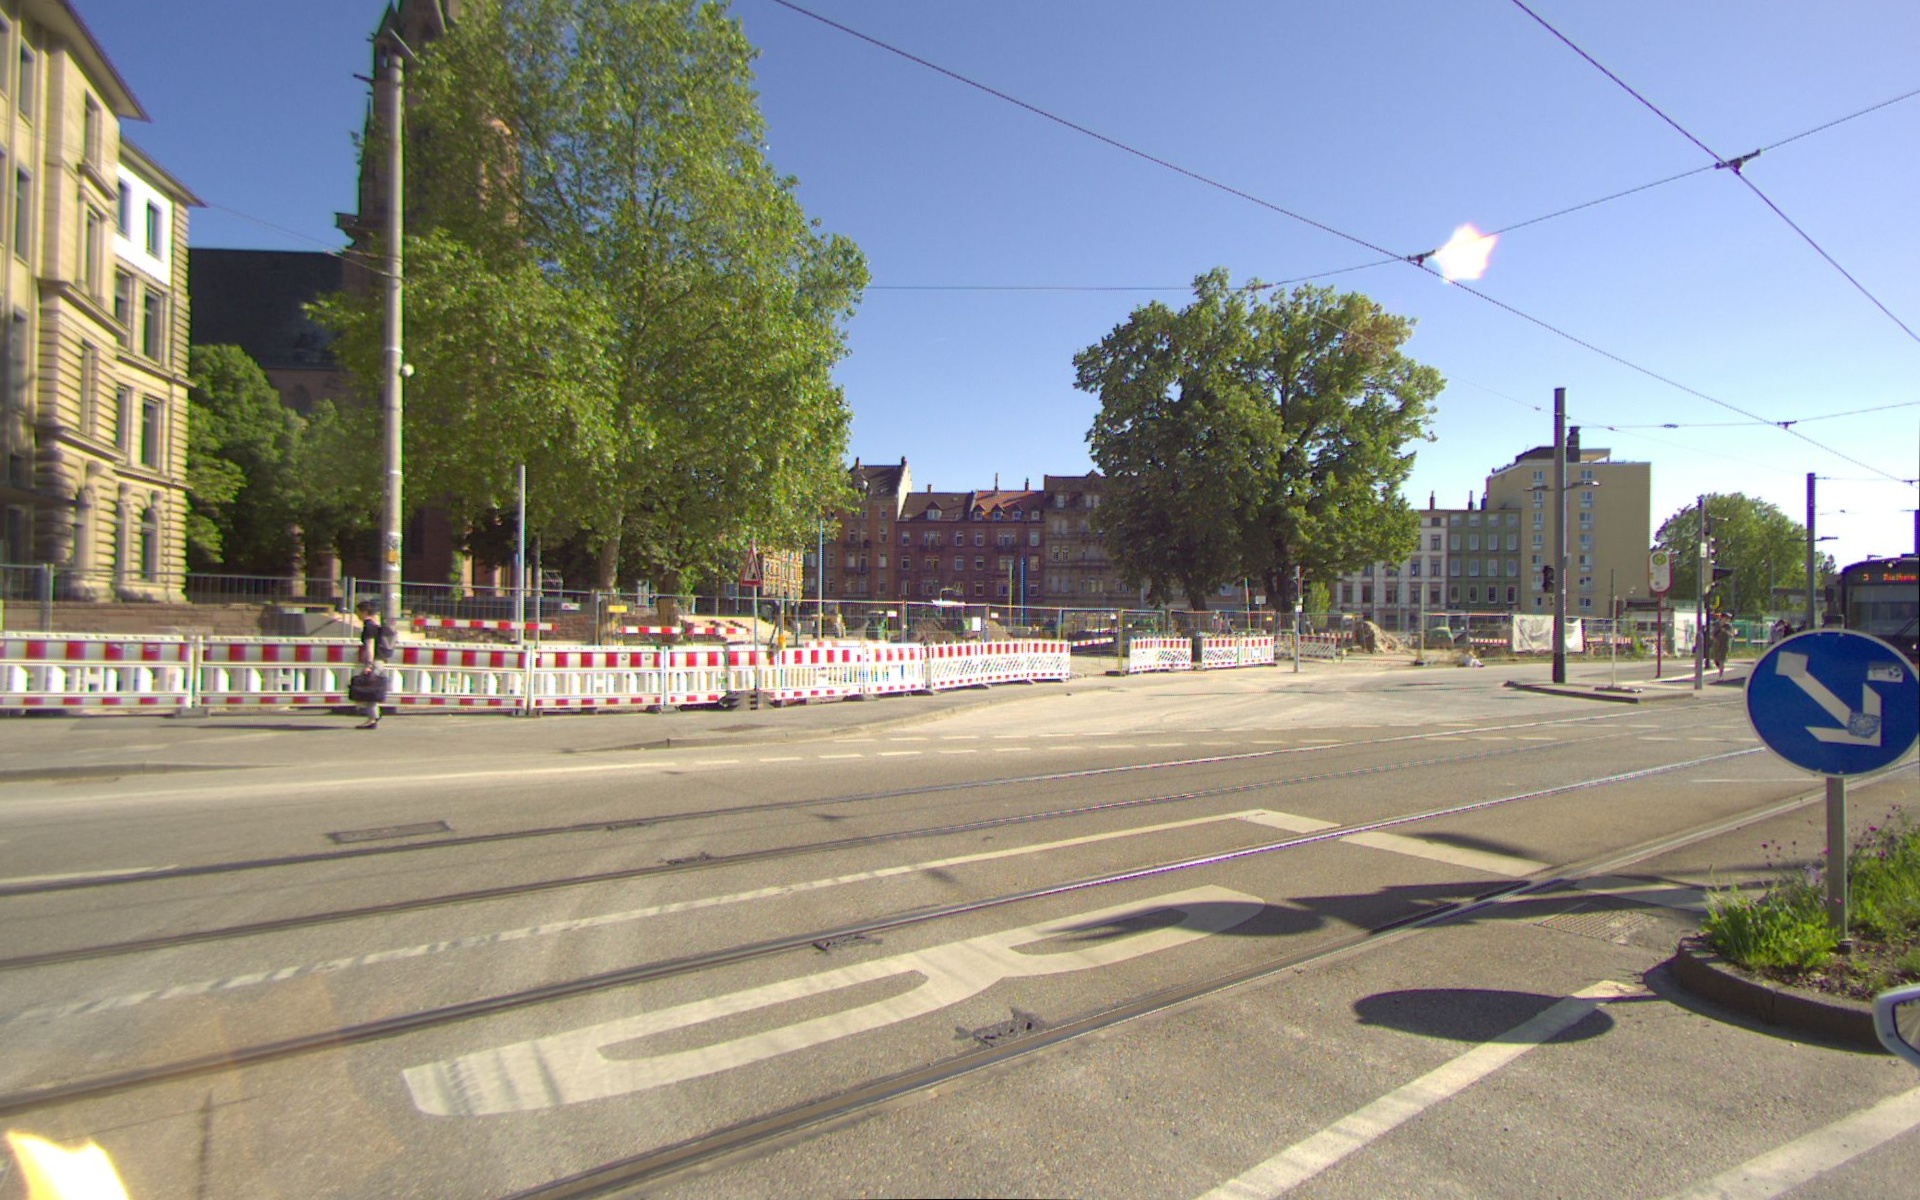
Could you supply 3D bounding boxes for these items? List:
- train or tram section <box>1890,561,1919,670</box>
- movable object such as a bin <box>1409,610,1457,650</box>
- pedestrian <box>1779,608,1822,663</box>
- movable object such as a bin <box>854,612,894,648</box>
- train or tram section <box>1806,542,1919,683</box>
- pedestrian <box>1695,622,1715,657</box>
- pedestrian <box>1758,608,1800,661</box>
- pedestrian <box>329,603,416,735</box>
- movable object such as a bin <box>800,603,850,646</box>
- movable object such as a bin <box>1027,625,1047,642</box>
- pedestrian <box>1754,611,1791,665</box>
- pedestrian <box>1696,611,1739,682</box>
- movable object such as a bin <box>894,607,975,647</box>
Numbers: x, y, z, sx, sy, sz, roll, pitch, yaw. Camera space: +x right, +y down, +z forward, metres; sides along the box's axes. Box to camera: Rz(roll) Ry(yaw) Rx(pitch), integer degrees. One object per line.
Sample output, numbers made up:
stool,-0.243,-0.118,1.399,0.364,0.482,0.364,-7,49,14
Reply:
train or tram section,36.003,0.638,35.439,10.511,3.554,2.796,2,0,-37
movable object such as a bin,35.779,2.225,76.054,1.797,2.833,4.001,2,-1,2
pedestrian,32.116,1.368,38.392,0.987,2.040,0.956,2,0,-30
movable object such as a bin,-5.933,2.048,69.752,1.856,2.377,4.232,2,-1,7
train or tram section,27.699,0.444,29.106,10.385,3.554,2.796,2,-2,-38
pedestrian,38.039,2.012,51.275,0.793,1.791,0.662,1,-1,-38
pedestrian,32.530,1.368,39.884,0.987,2.040,0.956,2,0,-30
pedestrian,-7.786,0.913,13.351,0.835,1.691,0.725,4,-2,-25
movable object such as a bin,-10.983,1.969,81.994,3.057,3.215,5.249,2,-1,2
movable object such as a bin,7.783,3.335,100.781,1.715,1.702,3.804,0,-1,9
pedestrian,27.737,1.296,34.297,0.850,1.791,0.971,0,-1,32
pedestrian,20.921,1.264,27.736,0.894,1.875,0.755,-2,1,-38
movable object such as a bin,-1.953,2.084,77.114,5.963,2.795,1.895,2,0,4
